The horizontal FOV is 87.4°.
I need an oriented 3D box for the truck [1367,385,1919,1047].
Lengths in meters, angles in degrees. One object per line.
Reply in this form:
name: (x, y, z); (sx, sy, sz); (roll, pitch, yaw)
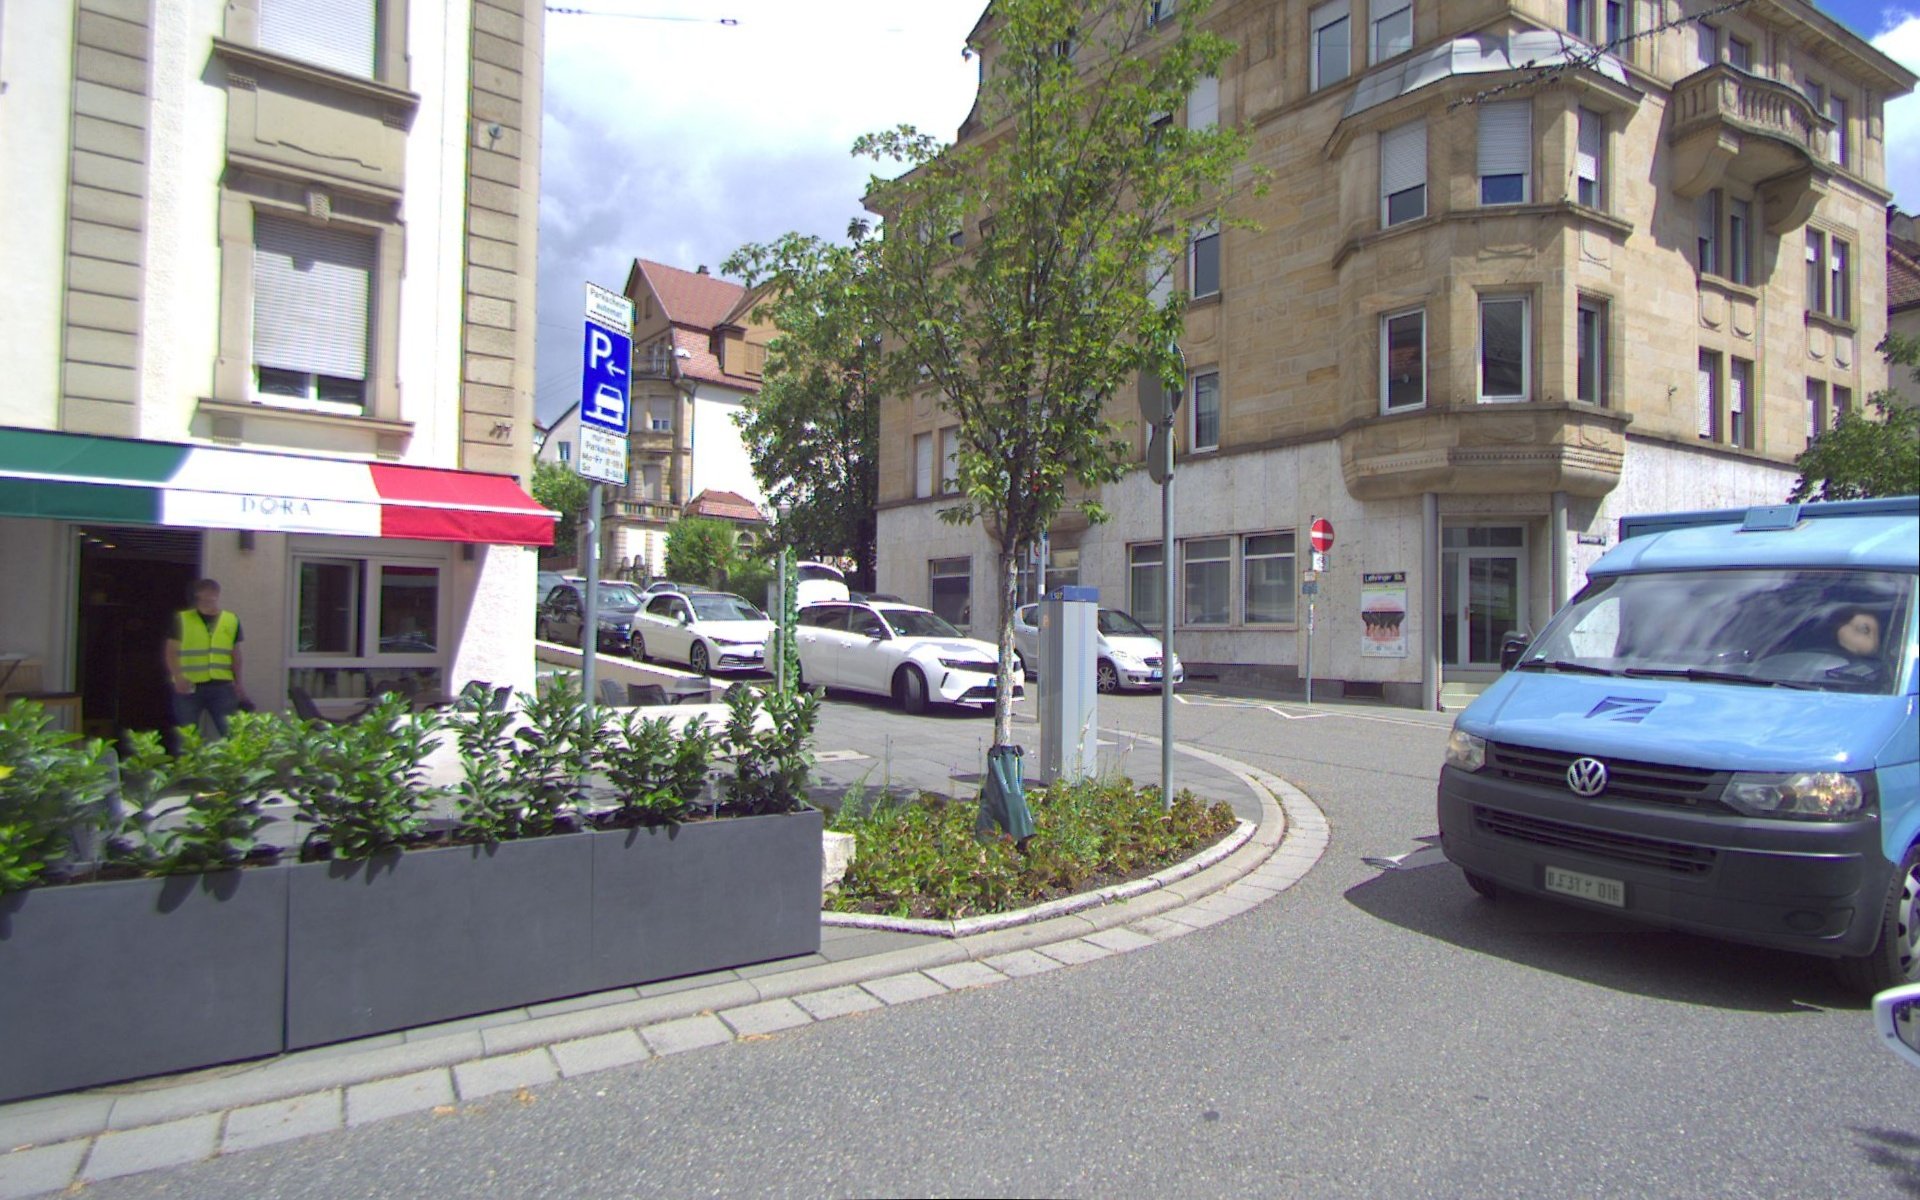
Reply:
truck: (5.468, 0.527, 6.112); (6.402, 2.336, 2.096); (3, -1, -31)

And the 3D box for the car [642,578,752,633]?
car: (-8.534, 0.145, 32.327); (1.982, 1.582, 4.174); (3, 0, -36)

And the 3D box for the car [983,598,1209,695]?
car: (2.517, 0.839, 19.542); (1.982, 1.582, 4.174); (3, 0, -36)

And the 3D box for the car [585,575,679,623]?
car: (-12.000, -0.058, 36.578); (1.982, 1.582, 4.174); (3, 0, -36)

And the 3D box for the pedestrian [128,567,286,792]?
pedestrian: (-6.369, 0.638, 8.511); (0.799, 1.780, 0.799); (2, -1, 33)

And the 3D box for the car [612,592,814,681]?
car: (-4.759, 0.625, 19.009); (1.820, 1.399, 4.177); (3, 0, -44)

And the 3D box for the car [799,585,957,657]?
car: (-2.133, 0.493, 25.036); (1.982, 1.582, 4.174); (3, 0, -36)

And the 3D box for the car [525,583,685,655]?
car: (-8.126, 0.394, 22.793); (1.820, 1.399, 4.177); (3, 0, -44)

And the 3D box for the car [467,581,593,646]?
car: (-11.337, 0.312, 26.346); (1.842, 1.564, 3.950); (1, 0, -42)

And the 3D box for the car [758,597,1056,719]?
car: (-0.903, 0.746, 14.724); (1.987, 1.399, 4.329); (3, 0, -44)
